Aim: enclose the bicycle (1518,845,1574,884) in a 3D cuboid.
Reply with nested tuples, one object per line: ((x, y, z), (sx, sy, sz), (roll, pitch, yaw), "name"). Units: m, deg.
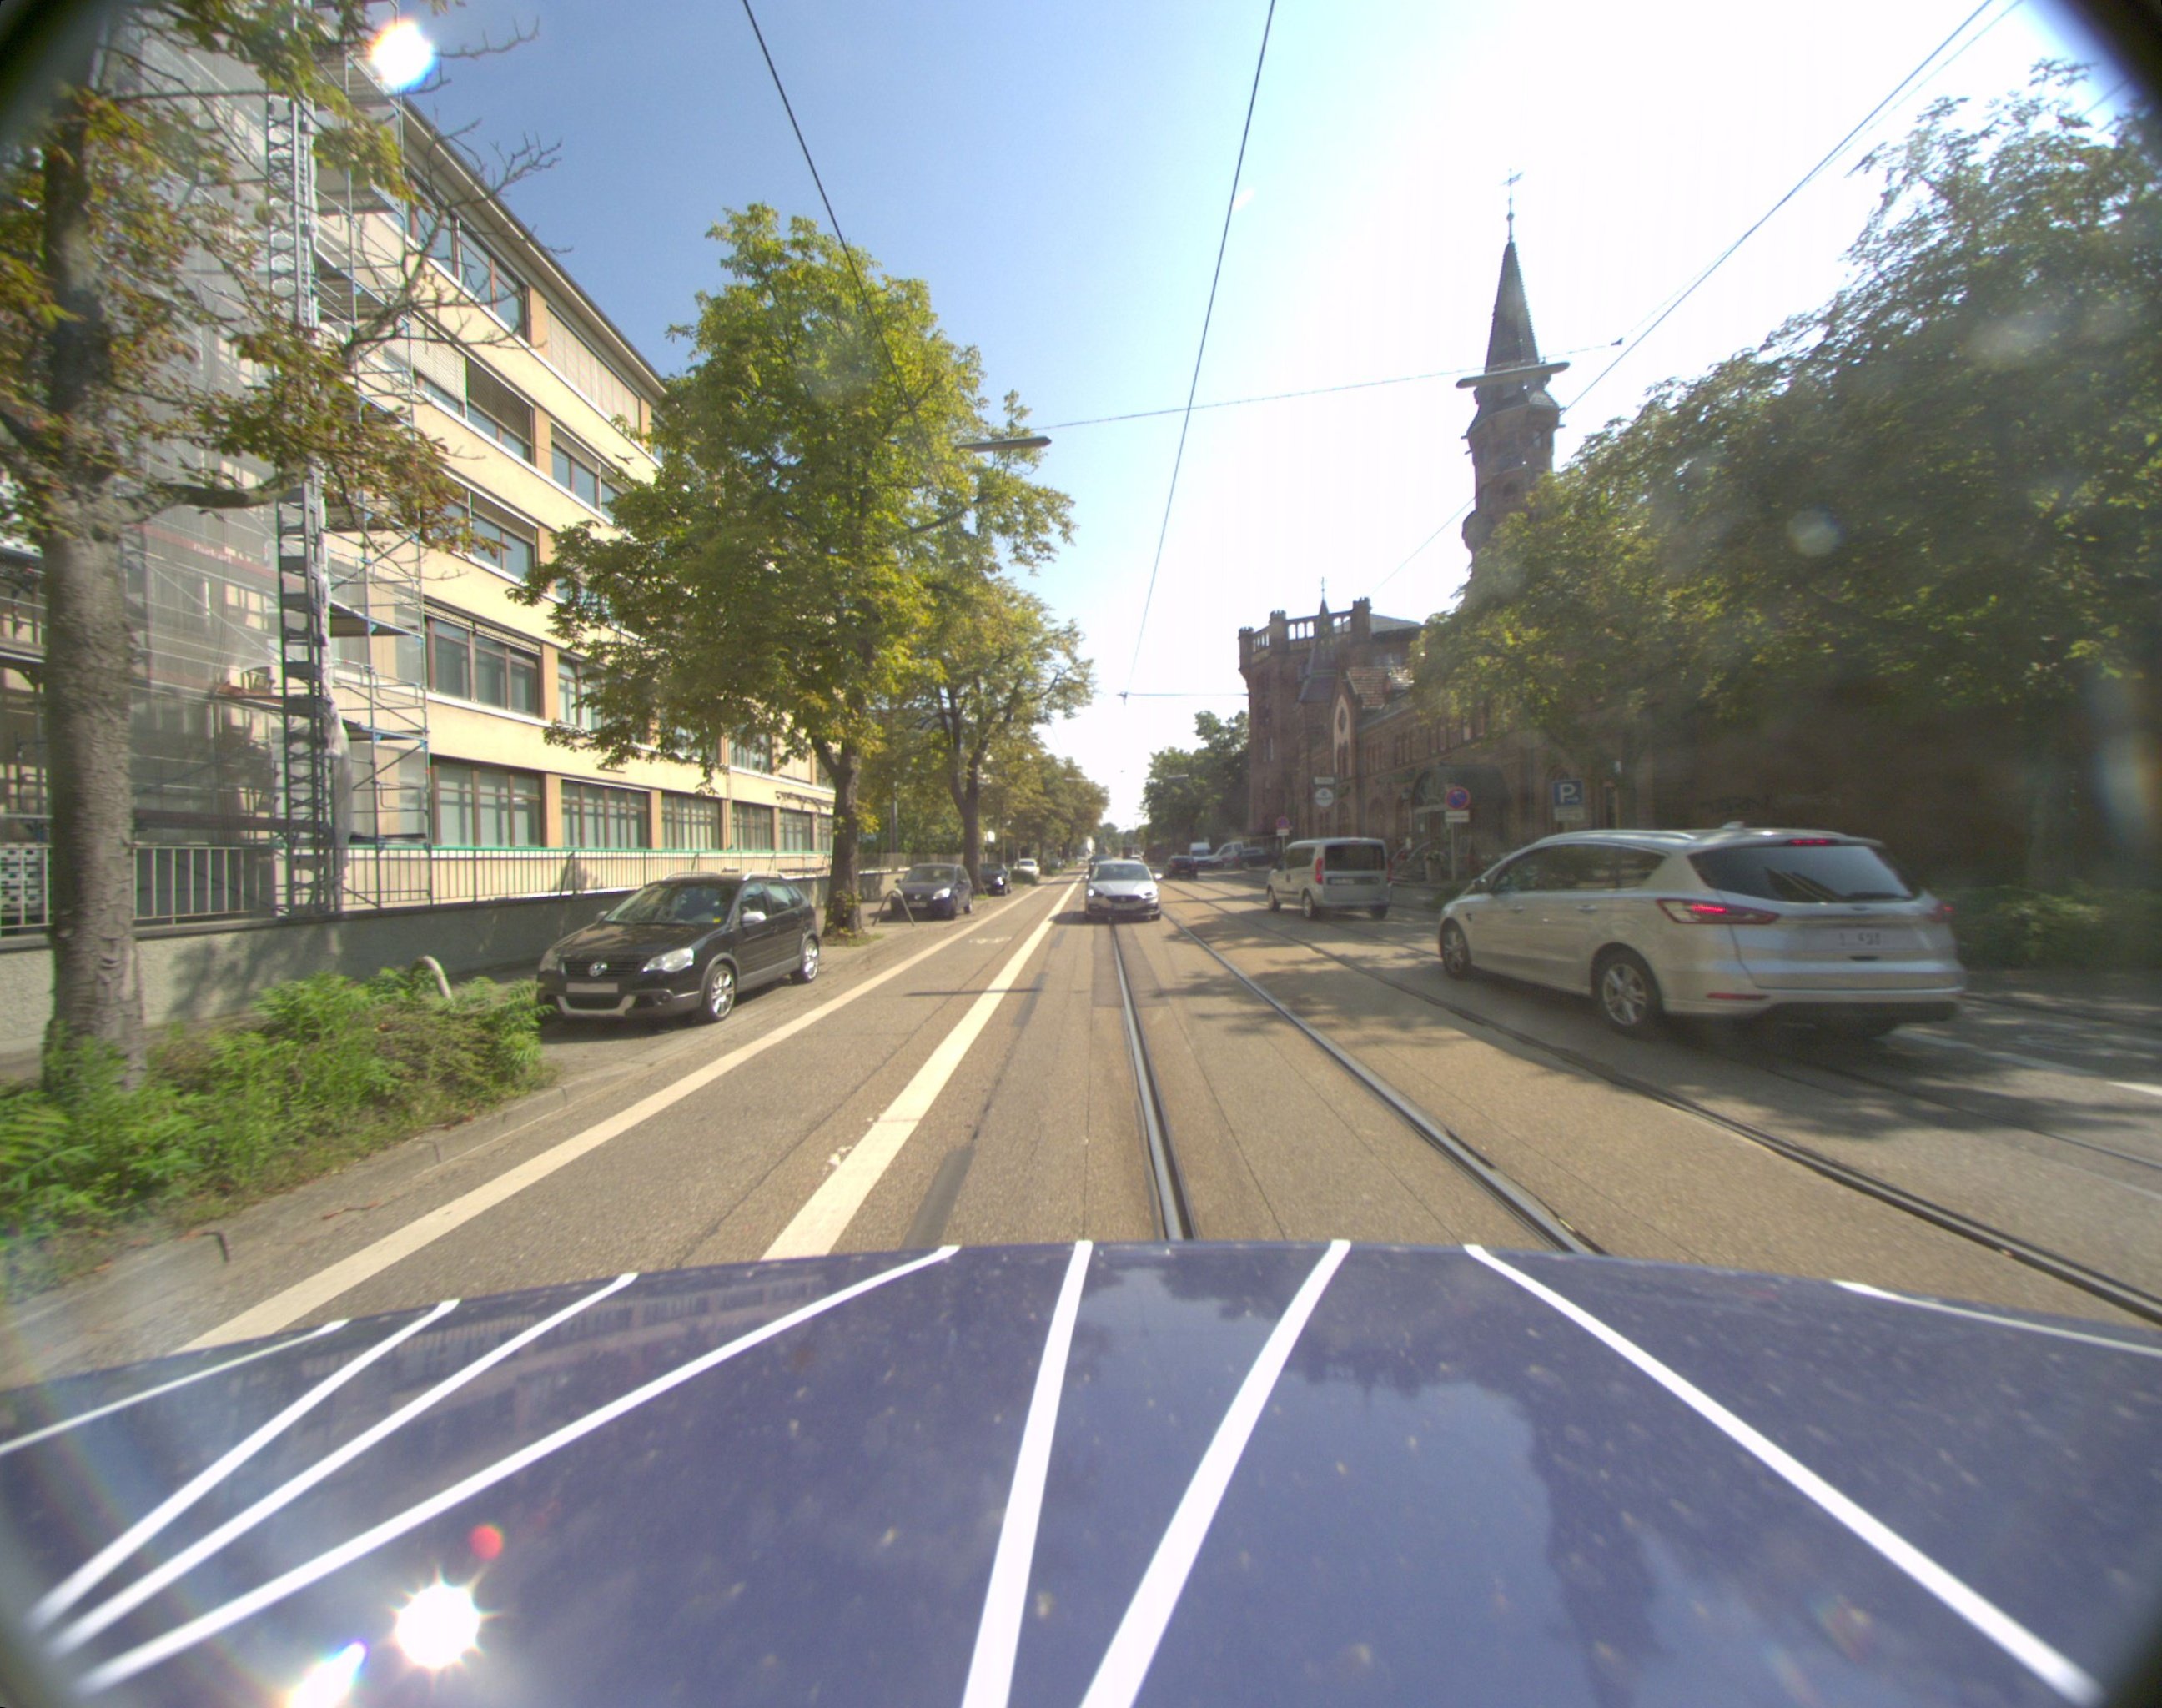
((14.440, 0.327, 23.616), (1.455, 1.087, 0.399), (-5, 1, -3), "bicycle")

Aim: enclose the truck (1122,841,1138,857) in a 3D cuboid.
((13.994, -1.443, 215.848), (3.171, 4.427, 16.849), (-2, 0, 7), "truck")

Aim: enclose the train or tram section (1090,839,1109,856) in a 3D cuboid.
((4.603, -1.577, 183.666), (4.111, 3.711, 24.382), (-2, 0, 3), "train or tram section")

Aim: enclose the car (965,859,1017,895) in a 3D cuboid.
((-3.896, 0.952, 33.504), (1.663, 1.399, 4.217), (-1, 0, 2), "car")

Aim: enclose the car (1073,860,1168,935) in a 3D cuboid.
((0.861, 0.924, 18.159), (1.928, 1.465, 4.817), (-2, 0, 1), "car")

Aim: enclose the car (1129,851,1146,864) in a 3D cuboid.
((6.918, 0.456, 93.186), (1.851, 1.483, 4.867), (-1, 0, 2), "car")

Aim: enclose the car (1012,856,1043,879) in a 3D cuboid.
((-3.602, 0.875, 51.886), (1.663, 1.472, 4.217), (-1, 0, 2), "car")

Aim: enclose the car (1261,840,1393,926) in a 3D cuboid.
((5.752, 0.610, 18.294), (1.751, 1.786, 3.999), (-2, 0, -2), "car")

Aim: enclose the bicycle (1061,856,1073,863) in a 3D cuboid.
((-2.156, 0.879, 113.894), (1.775, 1.043, 0.540), (-1, 0, 0), "bicycle")

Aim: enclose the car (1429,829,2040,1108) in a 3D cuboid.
((5.046, 0.701, 6.878), (1.784, 1.674, 4.347), (-2, 0, 0), "car")

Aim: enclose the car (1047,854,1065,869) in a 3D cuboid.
((-2.679, 0.776, 82.755), (1.760, 1.506, 4.609), (0, 0, 0), "car")

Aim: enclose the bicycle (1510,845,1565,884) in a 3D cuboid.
((14.449, 0.326, 24.067), (1.455, 1.087, 0.399), (-5, 1, -3), "bicycle")

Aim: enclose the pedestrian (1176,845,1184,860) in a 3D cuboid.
((12.969, -0.174, 99.383), (0.866, 2.002, 0.983), (-2, 1, -1), "pedestrian")

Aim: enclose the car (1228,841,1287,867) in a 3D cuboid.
((14.172, 0.027, 61.192), (4.145, 1.733, 2.000), (-5, 0, 2), "car")

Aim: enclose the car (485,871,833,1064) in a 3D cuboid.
((-4.443, 1.055, 8.860), (1.638, 1.575, 4.188), (-2, 0, 0), "car")

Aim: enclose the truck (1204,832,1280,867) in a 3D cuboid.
((14.407, -0.372, 68.161), (6.334, 2.523, 2.132), (-5, -1, 6), "truck")

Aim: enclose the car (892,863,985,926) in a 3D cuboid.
((-3.993, 1.095, 21.953), (1.747, 1.547, 4.217), (-1, 0, 2), "car")

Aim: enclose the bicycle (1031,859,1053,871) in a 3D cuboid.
((-3.327, 0.957, 64.644), (1.816, 0.952, 0.558), (-2, 1, 1), "bicycle")

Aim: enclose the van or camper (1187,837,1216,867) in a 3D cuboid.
((11.542, -0.200, 73.086), (2.118, 2.660, 5.956), (-2, 0, 3), "van or camper")

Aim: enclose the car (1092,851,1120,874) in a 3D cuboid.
((1.748, 0.577, 53.403), (1.834, 1.543, 4.033), (-2, 0, 1), "car")

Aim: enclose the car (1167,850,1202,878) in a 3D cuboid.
((6.295, 0.578, 46.520), (1.685, 1.562, 4.206), (1, 0, 2), "car")

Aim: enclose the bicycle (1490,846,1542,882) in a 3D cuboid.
((14.421, 0.325, 25.193), (1.455, 1.087, 0.399), (-5, 1, -3), "bicycle")
